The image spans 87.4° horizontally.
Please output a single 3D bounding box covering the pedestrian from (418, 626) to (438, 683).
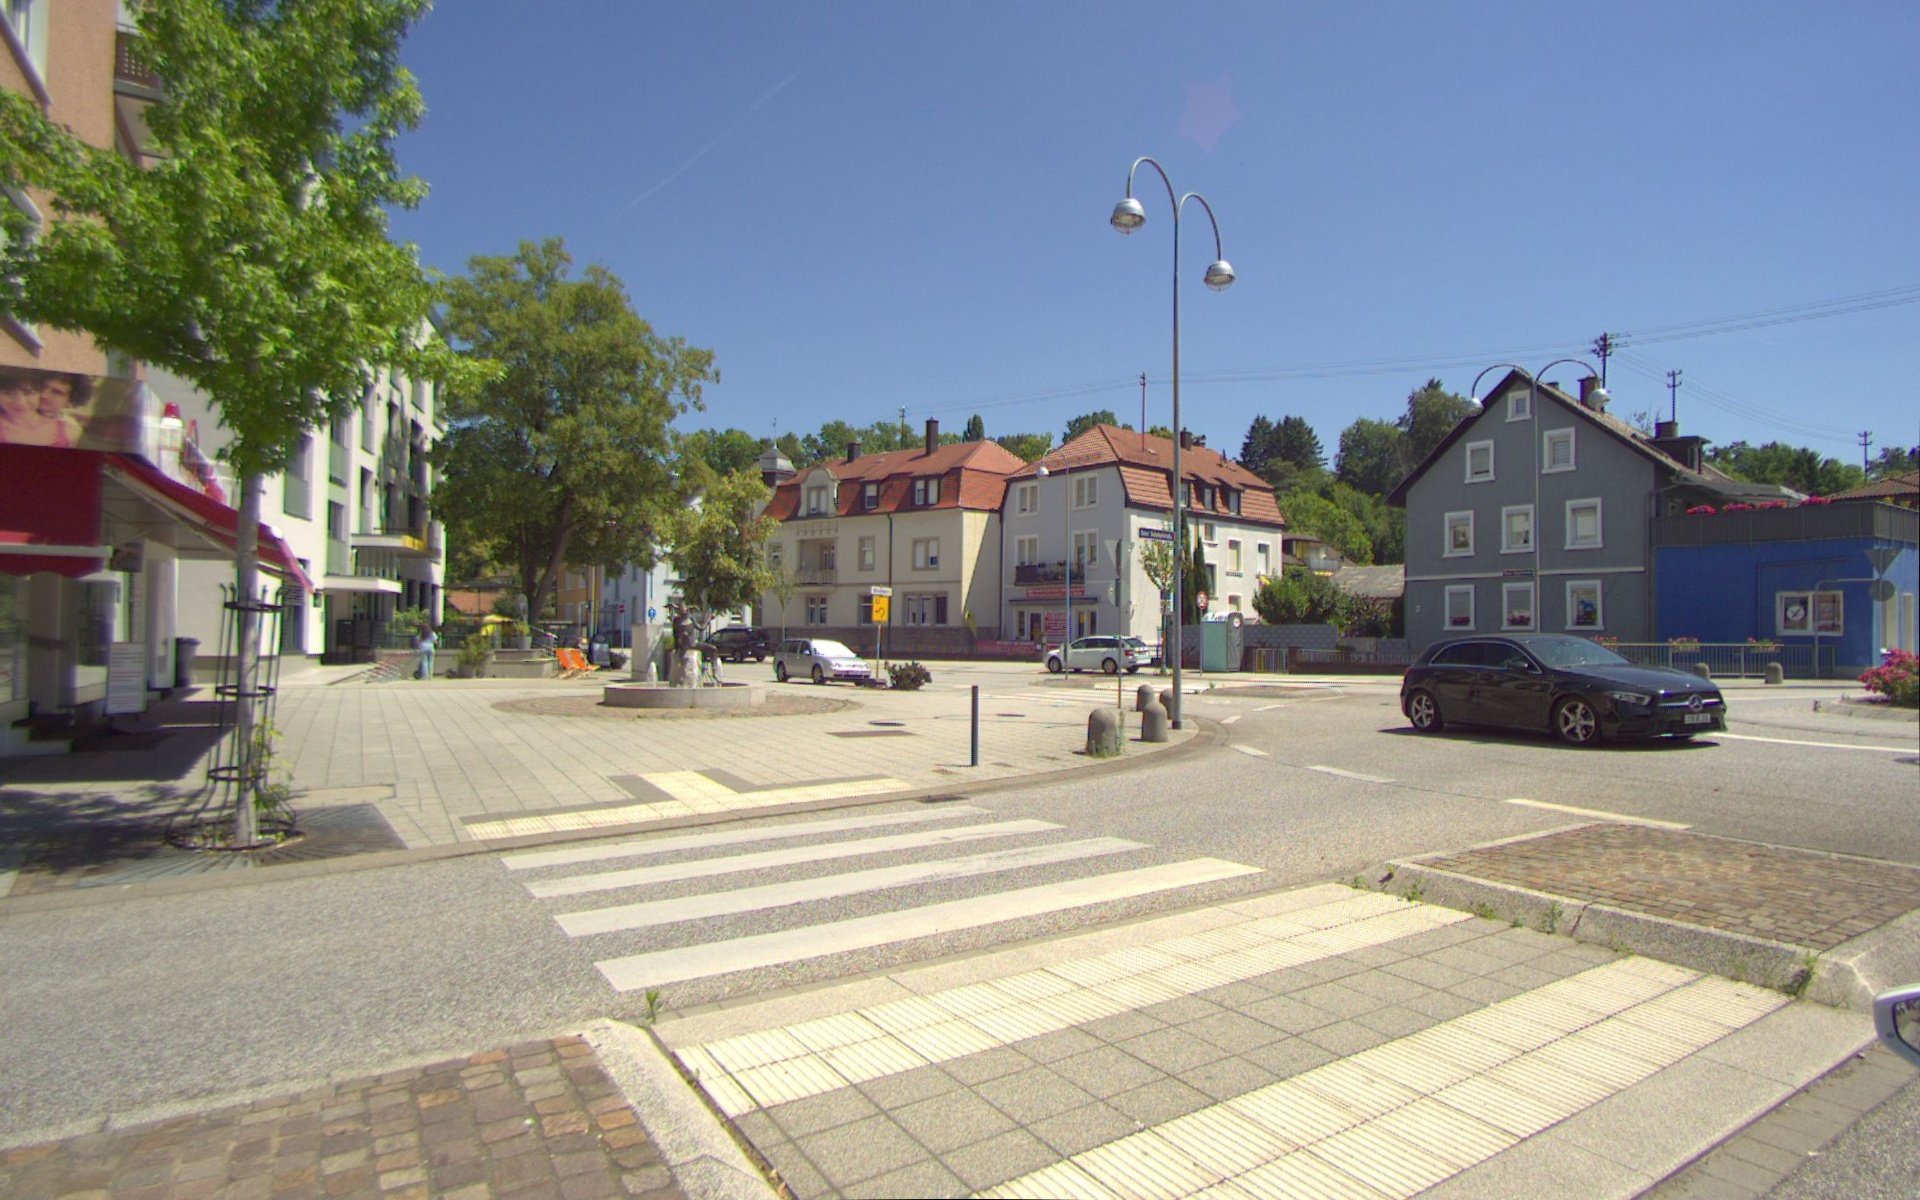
[{"bbox_3d":[-15.317,1.562,28.930,0.445,1.640,0.447,1,-2,-34],"label":"pedestrian"}]

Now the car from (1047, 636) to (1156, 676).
[{"bbox_3d":[5.544,2.171,39.666,4.020,1.410,1.600,-1,0,42],"label":"car"}]

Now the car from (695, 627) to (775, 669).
[{"bbox_3d":[-12.180,2.570,54.296,3.931,2.040,1.995,1,0,32],"label":"car"}]

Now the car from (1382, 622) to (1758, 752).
[{"bbox_3d":[8.098,1.133,13.926,1.739,1.476,4.425,0,-3,-16],"label":"car"}]

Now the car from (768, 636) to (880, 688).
[{"bbox_3d":[-4.413,1.919,32.198,1.781,1.544,3.956,1,-2,-39],"label":"car"}]

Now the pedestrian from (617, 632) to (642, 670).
[{"bbox_3d":[-14.929,2.301,45.351,0.939,1.670,0.812,1,-2,-30],"label":"pedestrian"}]
